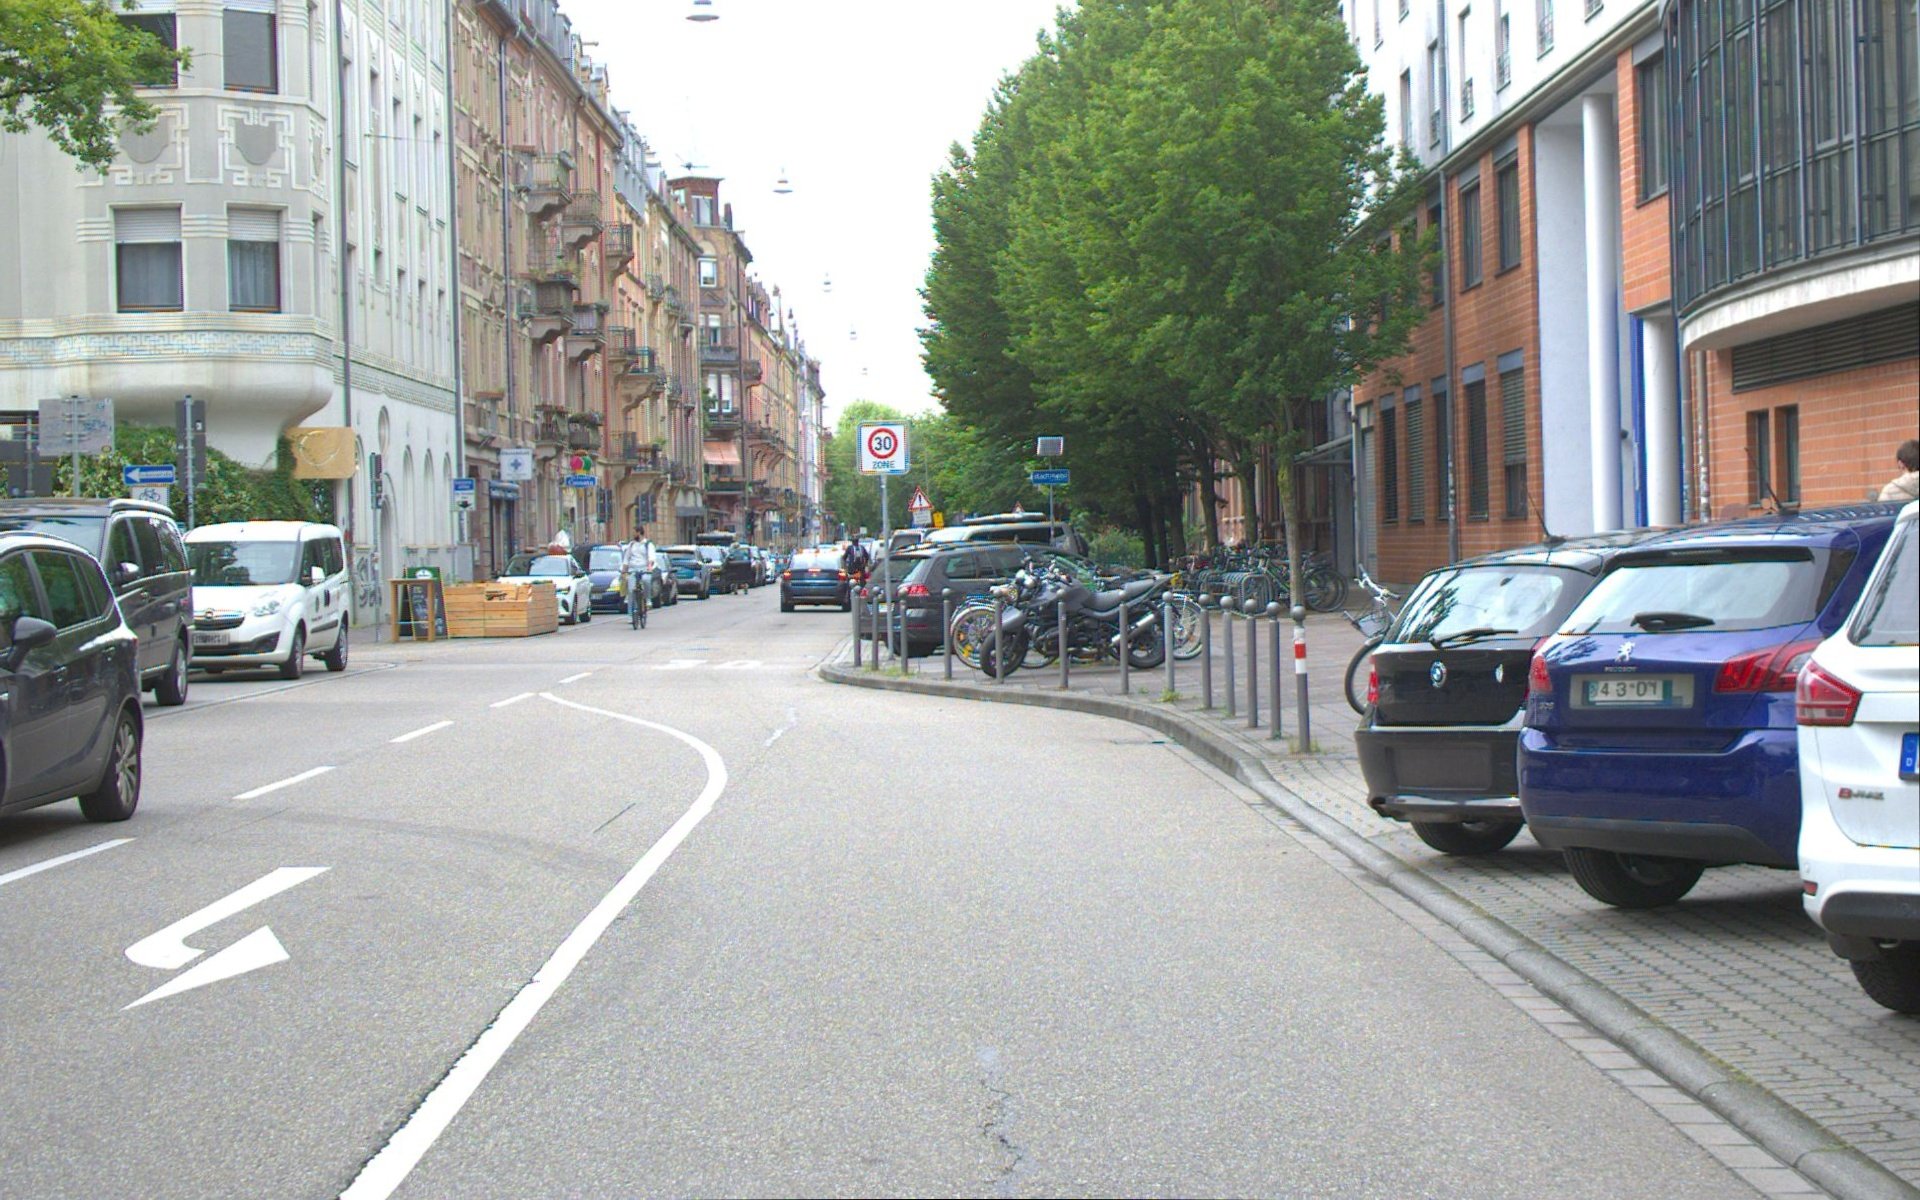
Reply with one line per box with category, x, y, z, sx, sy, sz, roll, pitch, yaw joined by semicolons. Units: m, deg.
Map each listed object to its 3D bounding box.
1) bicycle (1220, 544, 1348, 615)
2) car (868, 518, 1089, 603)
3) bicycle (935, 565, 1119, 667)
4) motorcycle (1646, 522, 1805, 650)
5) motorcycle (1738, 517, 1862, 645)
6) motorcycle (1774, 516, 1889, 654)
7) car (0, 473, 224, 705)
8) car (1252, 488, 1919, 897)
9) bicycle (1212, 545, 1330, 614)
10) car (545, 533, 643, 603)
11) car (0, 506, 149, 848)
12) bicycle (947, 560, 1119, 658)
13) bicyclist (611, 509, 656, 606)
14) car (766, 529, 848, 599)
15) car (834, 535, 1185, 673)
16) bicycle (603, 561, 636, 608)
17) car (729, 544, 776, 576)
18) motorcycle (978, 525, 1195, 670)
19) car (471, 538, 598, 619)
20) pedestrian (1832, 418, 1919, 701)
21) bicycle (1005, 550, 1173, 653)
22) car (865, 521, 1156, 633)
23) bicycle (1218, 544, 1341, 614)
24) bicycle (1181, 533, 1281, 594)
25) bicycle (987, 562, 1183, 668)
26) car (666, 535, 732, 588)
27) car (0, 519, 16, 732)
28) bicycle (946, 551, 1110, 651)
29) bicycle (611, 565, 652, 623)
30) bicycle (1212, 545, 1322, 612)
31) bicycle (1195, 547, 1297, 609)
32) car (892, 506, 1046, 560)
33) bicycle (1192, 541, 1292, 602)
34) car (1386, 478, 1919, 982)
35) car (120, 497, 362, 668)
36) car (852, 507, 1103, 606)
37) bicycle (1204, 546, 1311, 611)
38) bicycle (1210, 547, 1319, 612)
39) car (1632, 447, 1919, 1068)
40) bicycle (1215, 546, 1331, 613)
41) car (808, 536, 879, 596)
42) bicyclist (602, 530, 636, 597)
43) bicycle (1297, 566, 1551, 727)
bicycle;5.072;-0.320;53.907;1.933;1.088;0.577;0;0;-1
car;0.493;-1.012;87.192;5.387;1.985;1.950;-2;1;-34
bicycle;0.721;0.174;37.498;1.929;1.040;0.612;-2;0;-3
motorcycle;7.611;-0.157;34.293;1.028;1.198;2.209;-2;1;-1
motorcycle;7.812;-0.188;32.041;0.601;1.140;2.070;-2;1;0
motorcycle;7.586;-0.145;29.871;0.602;1.140;1.879;-1;1;25
car;-8.483;-0.141;32.471;2.013;2.007;5.183;0;1;-1
car;3.631;0.309;15.555;4.246;1.473;1.685;-4;2;-24
bicycle;4.996;-0.328;55.322;1.836;1.088;0.543;0;0;-1
car;-8.697;-0.765;81.970;1.944;1.611;3.943;0;1;0
car;-5.635;0.366;17.670;1.845;1.678;4.548;0;1;0
bicycle;0.823;0.103;39.138;1.883;1.040;0.612;-2;0;-3
bicyclist;-6.343;-0.830;66.804;0.782;1.860;0.714;0;1;1
car;-3.800;-0.886;85.938;1.993;1.675;4.000;0;0;-2
car;0.677;0.032;45.496;4.274;1.573;1.863;-4;1;-33
bicycle;-7.099;-0.316;71.747;0.535;0.974;1.865;0;0;-1
car;-8.949;-1.726;148.072;1.993;1.317;4.000;0;0;-4
motorcycle;1.297;-0.026;35.534;2.133;1.425;0.771;-2;0;-3
car;-8.663;-0.450;70.311;1.944;1.548;3.817;-2;1;2
pedestrian;6.014;-0.269;21.769;0.629;1.747;0.811;-4;1;-4
bicycle;1.502;0.013;40.189;1.883;1.137;0.612;-2;0;-3
car;0.787;-0.354;53.133;4.047;1.579;1.903;-2;0;-31
bicycle;5.060;-0.333;54.513;1.895;1.088;0.543;0;0;-1
bicycle;4.911;-0.657;62.385;1.752;1.088;0.565;0;0;-1
bicycle;1.331;0.159;36.715;2.009;1.059;0.612;-2;0;-3
car;-8.754;-1.302;115.531;1.944;1.736;3.943;0;1;0
car;-8.480;0.246;25.406;1.843;1.682;4.433;0;1;-1
bicycle;0.808;0.013;41.239;1.883;1.137;0.612;-2;0;-3
bicycle;-6.350;-0.125;66.574;0.567;1.084;1.987;0;1;1
bicycle;5.066;-0.349;56.747;1.752;1.088;0.565;0;0;-1
bicycle;5.077;-0.387;60.988;1.752;1.088;0.565;0;0;-1
car;0.331;-2.479;126.928;5.386;1.861;1.950;-2;1;-30
bicycle;5.059;-0.508;61.734;1.752;1.088;0.565;0;0;-1
car;3.830;0.321;12.896;3.987;1.528;1.932;-5;3;-29
car;-8.541;-0.239;41.216;1.843;1.933;4.548;0;1;1
car;0.424;-1.011;79.154;5.608;2.120;1.950;-2;1;-34
bicycle;5.030;-0.357;58.136;1.752;1.088;0.565;0;0;-1
bicycle;5.092;-0.341;57.530;1.752;1.088;0.565;0;0;-1
car;4.002;0.280;10.185;3.989;1.596;1.765;-5;3;-40
bicycle;5.106;-0.329;56.117;1.836;1.088;0.565;0;0;-1
car;-3.331;-0.961;98.690;1.993;1.675;4.000;0;0;-2
bicyclist;-7.105;-0.755;71.743;0.668;1.394;0.783;0;0;-3
bicycle;3.356;0.337;24.960;0.728;1.100;1.736;-3;1;-41
